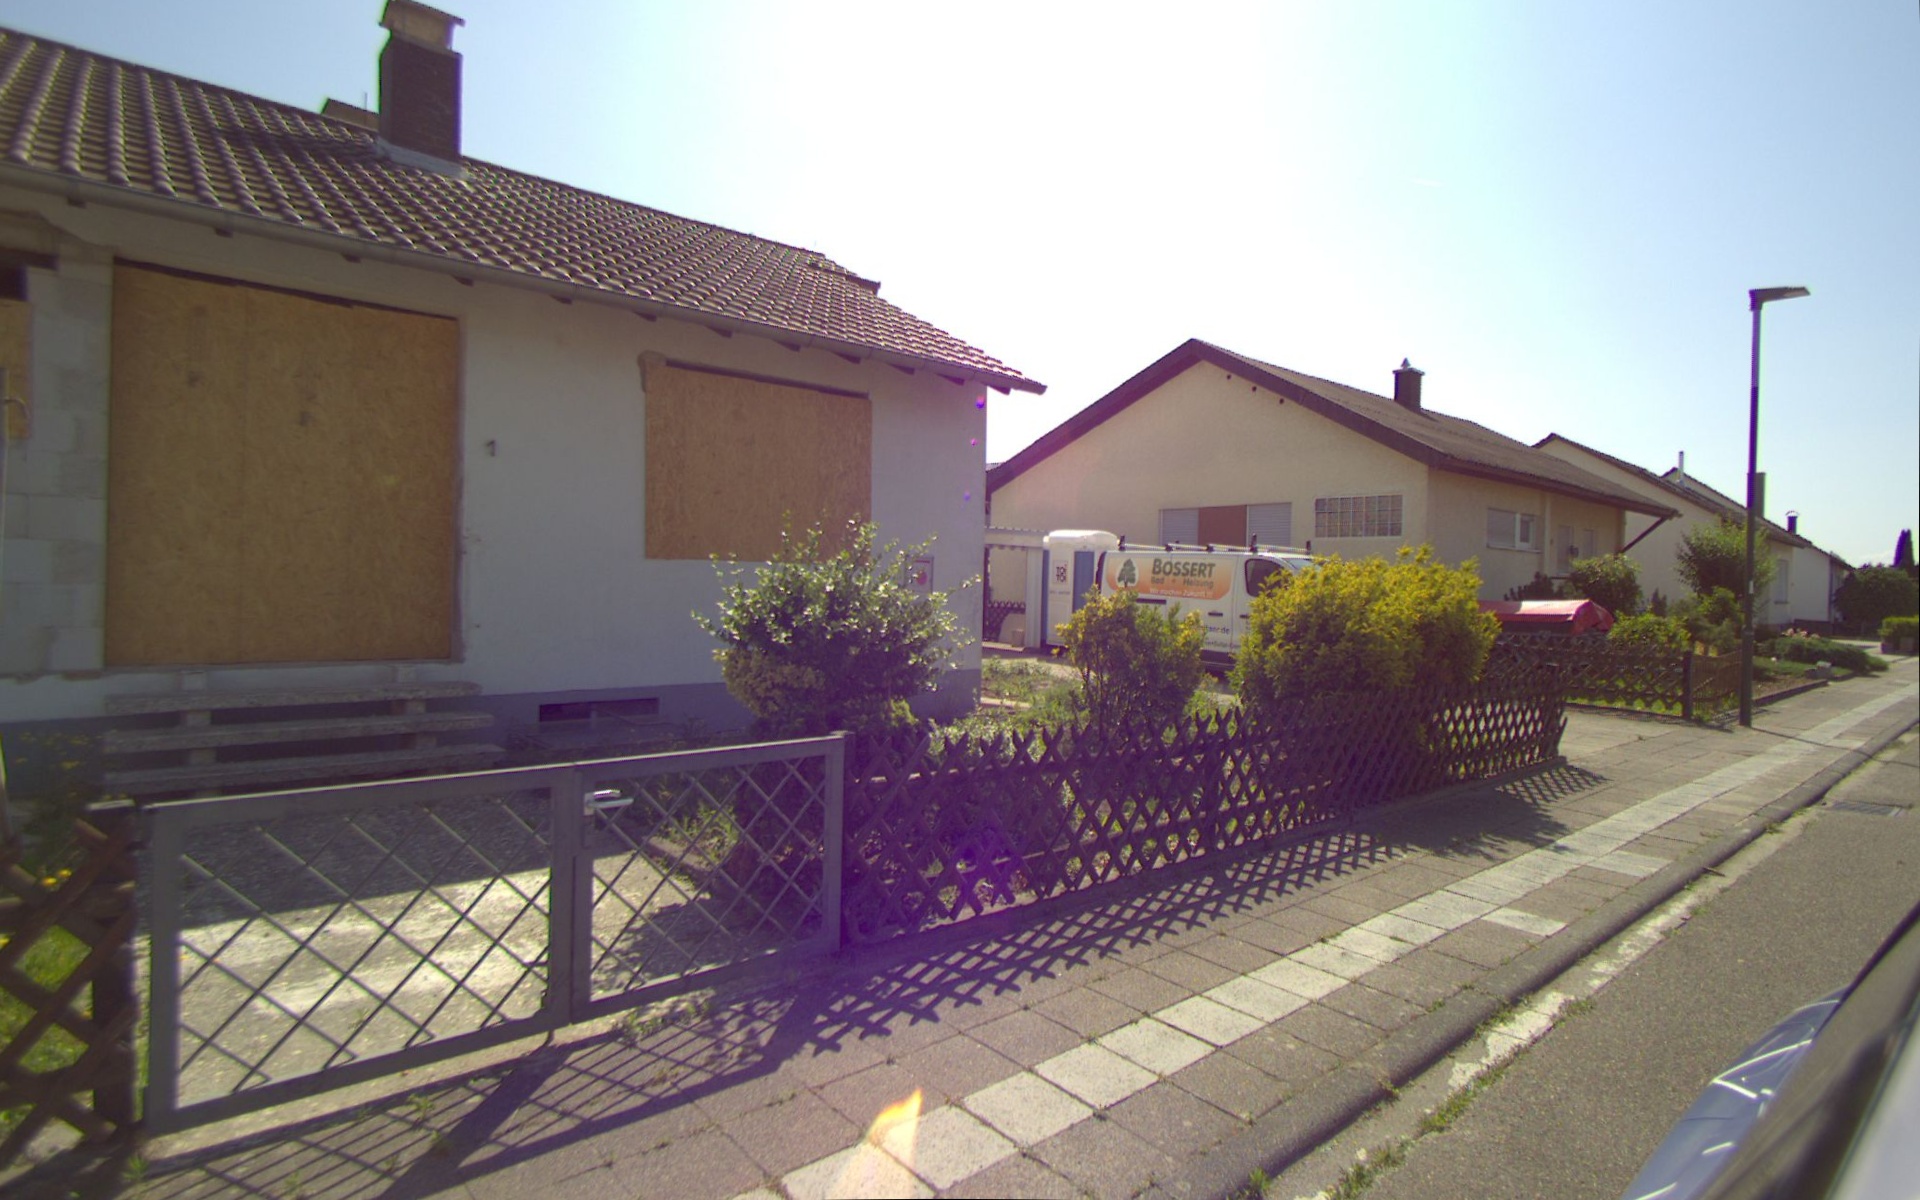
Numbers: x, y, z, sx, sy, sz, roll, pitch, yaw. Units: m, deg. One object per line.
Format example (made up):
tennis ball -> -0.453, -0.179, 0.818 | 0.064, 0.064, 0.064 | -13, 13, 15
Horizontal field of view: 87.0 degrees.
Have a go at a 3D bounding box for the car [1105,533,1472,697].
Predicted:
car -> 4.655, 0.104, 15.126 | 1.834, 2.038, 5.008 | 1, 2, -39

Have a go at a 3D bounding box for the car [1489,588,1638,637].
car -> 20.083, 0.373, 33.781 | 3.988, 1.440, 1.667 | 3, 2, 44
